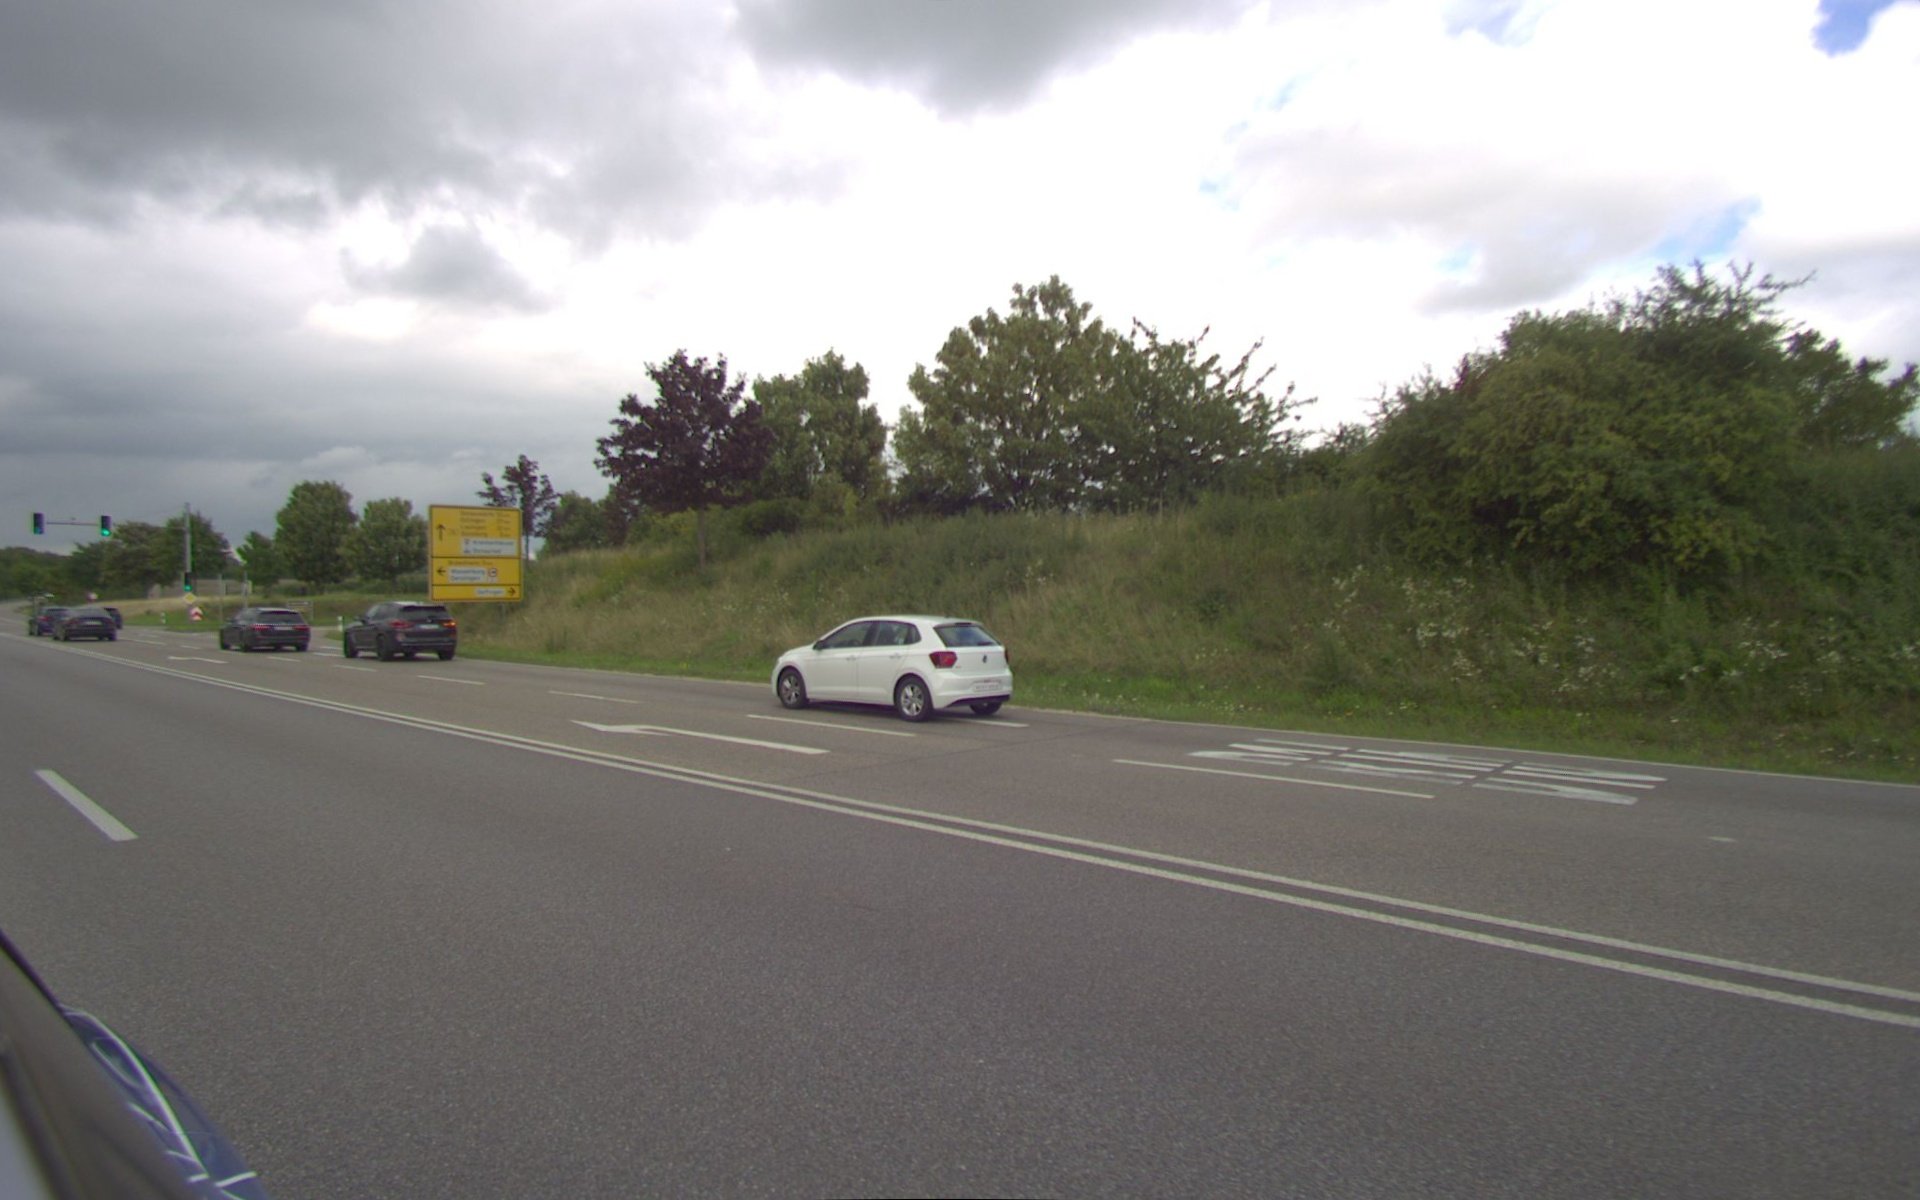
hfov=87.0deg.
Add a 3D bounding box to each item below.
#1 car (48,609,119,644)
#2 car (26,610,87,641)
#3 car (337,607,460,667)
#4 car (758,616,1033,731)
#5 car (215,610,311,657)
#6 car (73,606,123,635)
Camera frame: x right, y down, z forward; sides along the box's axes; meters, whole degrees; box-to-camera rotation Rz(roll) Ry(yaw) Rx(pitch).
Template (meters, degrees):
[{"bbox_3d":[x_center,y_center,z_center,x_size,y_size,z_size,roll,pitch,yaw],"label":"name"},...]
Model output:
[{"bbox_3d":[-37.432,1.101,43.172,4.185,1.418,1.835,-1,-1,43],"label":"car"},{"bbox_3d":[-44.139,1.208,49.402,4.000,1.460,1.835,-1,-1,43],"label":"car"},{"bbox_3d":[-16.391,1.033,29.457,4.398,1.608,1.835,-1,-1,43],"label":"car"},{"bbox_3d":[-1.045,0.965,14.810,4.053,1.425,1.591,-1,0,40],"label":"car"},{"bbox_3d":[-23.796,1.093,34.480,4.659,1.492,1.705,-1,-1,43],"label":"car"},{"bbox_3d":[-54.478,1.255,63.940,4.127,1.729,1.832,-1,1,41],"label":"car"}]
